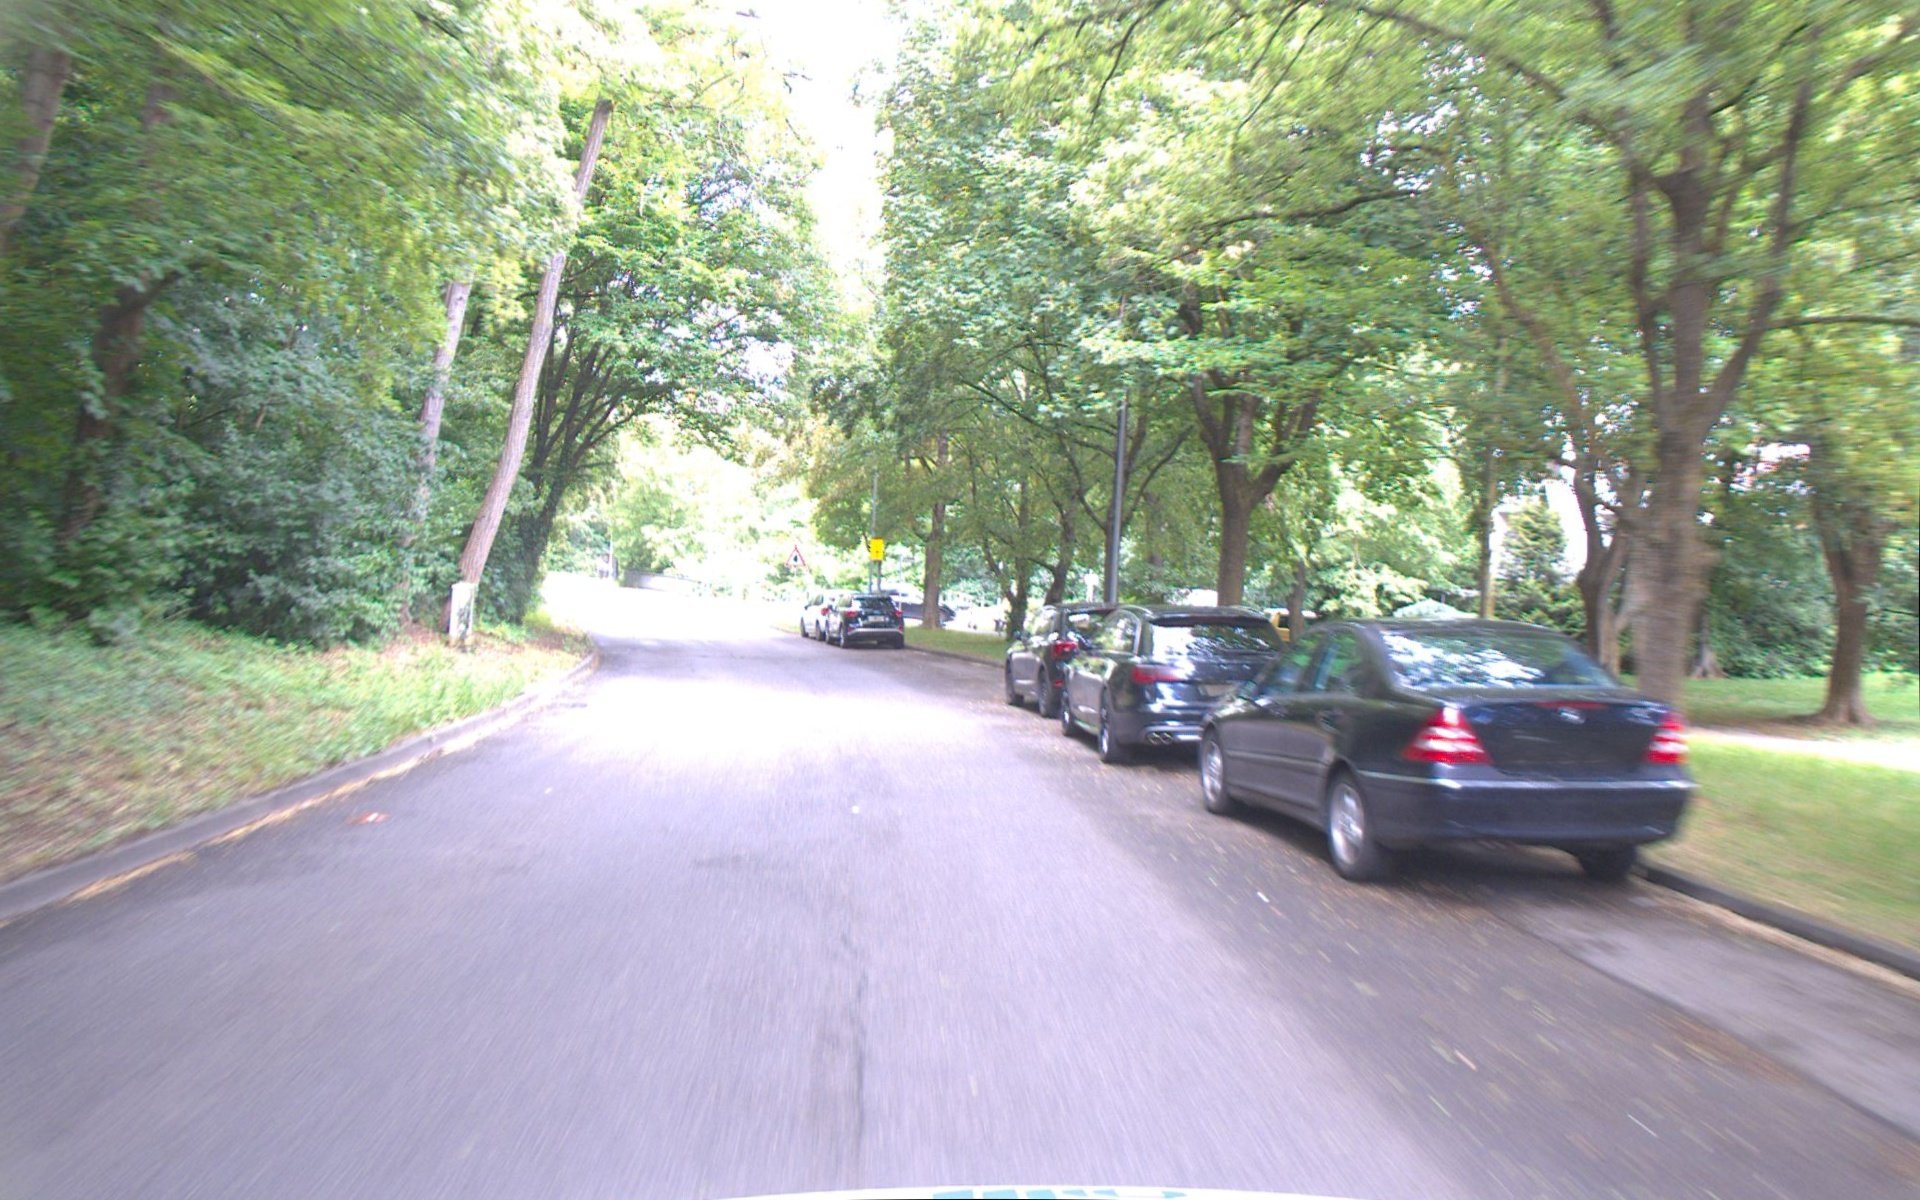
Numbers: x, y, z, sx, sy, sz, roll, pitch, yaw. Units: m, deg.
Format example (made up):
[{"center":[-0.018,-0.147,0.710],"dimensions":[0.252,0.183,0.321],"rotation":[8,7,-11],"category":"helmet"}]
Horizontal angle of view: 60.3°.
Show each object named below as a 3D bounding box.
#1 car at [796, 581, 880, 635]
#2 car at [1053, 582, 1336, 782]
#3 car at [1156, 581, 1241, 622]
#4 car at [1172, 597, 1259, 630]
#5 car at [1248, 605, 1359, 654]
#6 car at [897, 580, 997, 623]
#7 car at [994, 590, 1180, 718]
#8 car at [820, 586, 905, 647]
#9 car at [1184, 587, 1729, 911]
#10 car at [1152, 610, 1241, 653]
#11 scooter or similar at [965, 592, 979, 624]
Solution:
[{"center":[-3.844,0.228,51.496],"dimensions":[1.746,1.549,3.762],"rotation":[2,1,-18],"category":"car"},{"center":[2.145,0.682,16.518],"dimensions":[1.875,1.640,4.732],"rotation":[2,1,-3],"category":"car"},{"center":[13.021,0.084,90.510],"dimensions":[4.129,2.048,1.996],"rotation":[2,0,-10],"category":"car"},{"center":[13.513,0.716,87.555],"dimensions":[4.129,1.525,1.796],"rotation":[2,1,-10],"category":"car"},{"center":[14.952,1.274,72.097],"dimensions":[4.312,1.880,1.830],"rotation":[3,1,-6],"category":"car"},{"center":[-0.571,0.059,72.978],"dimensions":[4.144,1.715,1.795],"rotation":[2,0,-10],"category":"car"},{"center":[1.612,0.659,22.340],"dimensions":[1.651,1.490,3.891],"rotation":[2,1,-8],"category":"car"},{"center":[-2.833,0.437,47.248],"dimensions":[1.743,1.549,4.170],"rotation":[2,1,-12],"category":"car"},{"center":[2.728,0.721,10.209],"dimensions":[1.559,1.491,4.310],"rotation":[2,1,-7],"category":"car"},{"center":[10.133,1.345,71.064],"dimensions":[3.446,1.597,1.832],"rotation":[3,1,-2],"category":"car"},{"center":[0.493,0.333,69.372],"dimensions":[0.278,1.309,1.105],"rotation":[2,1,-12],"category":"scooter or similar"}]
